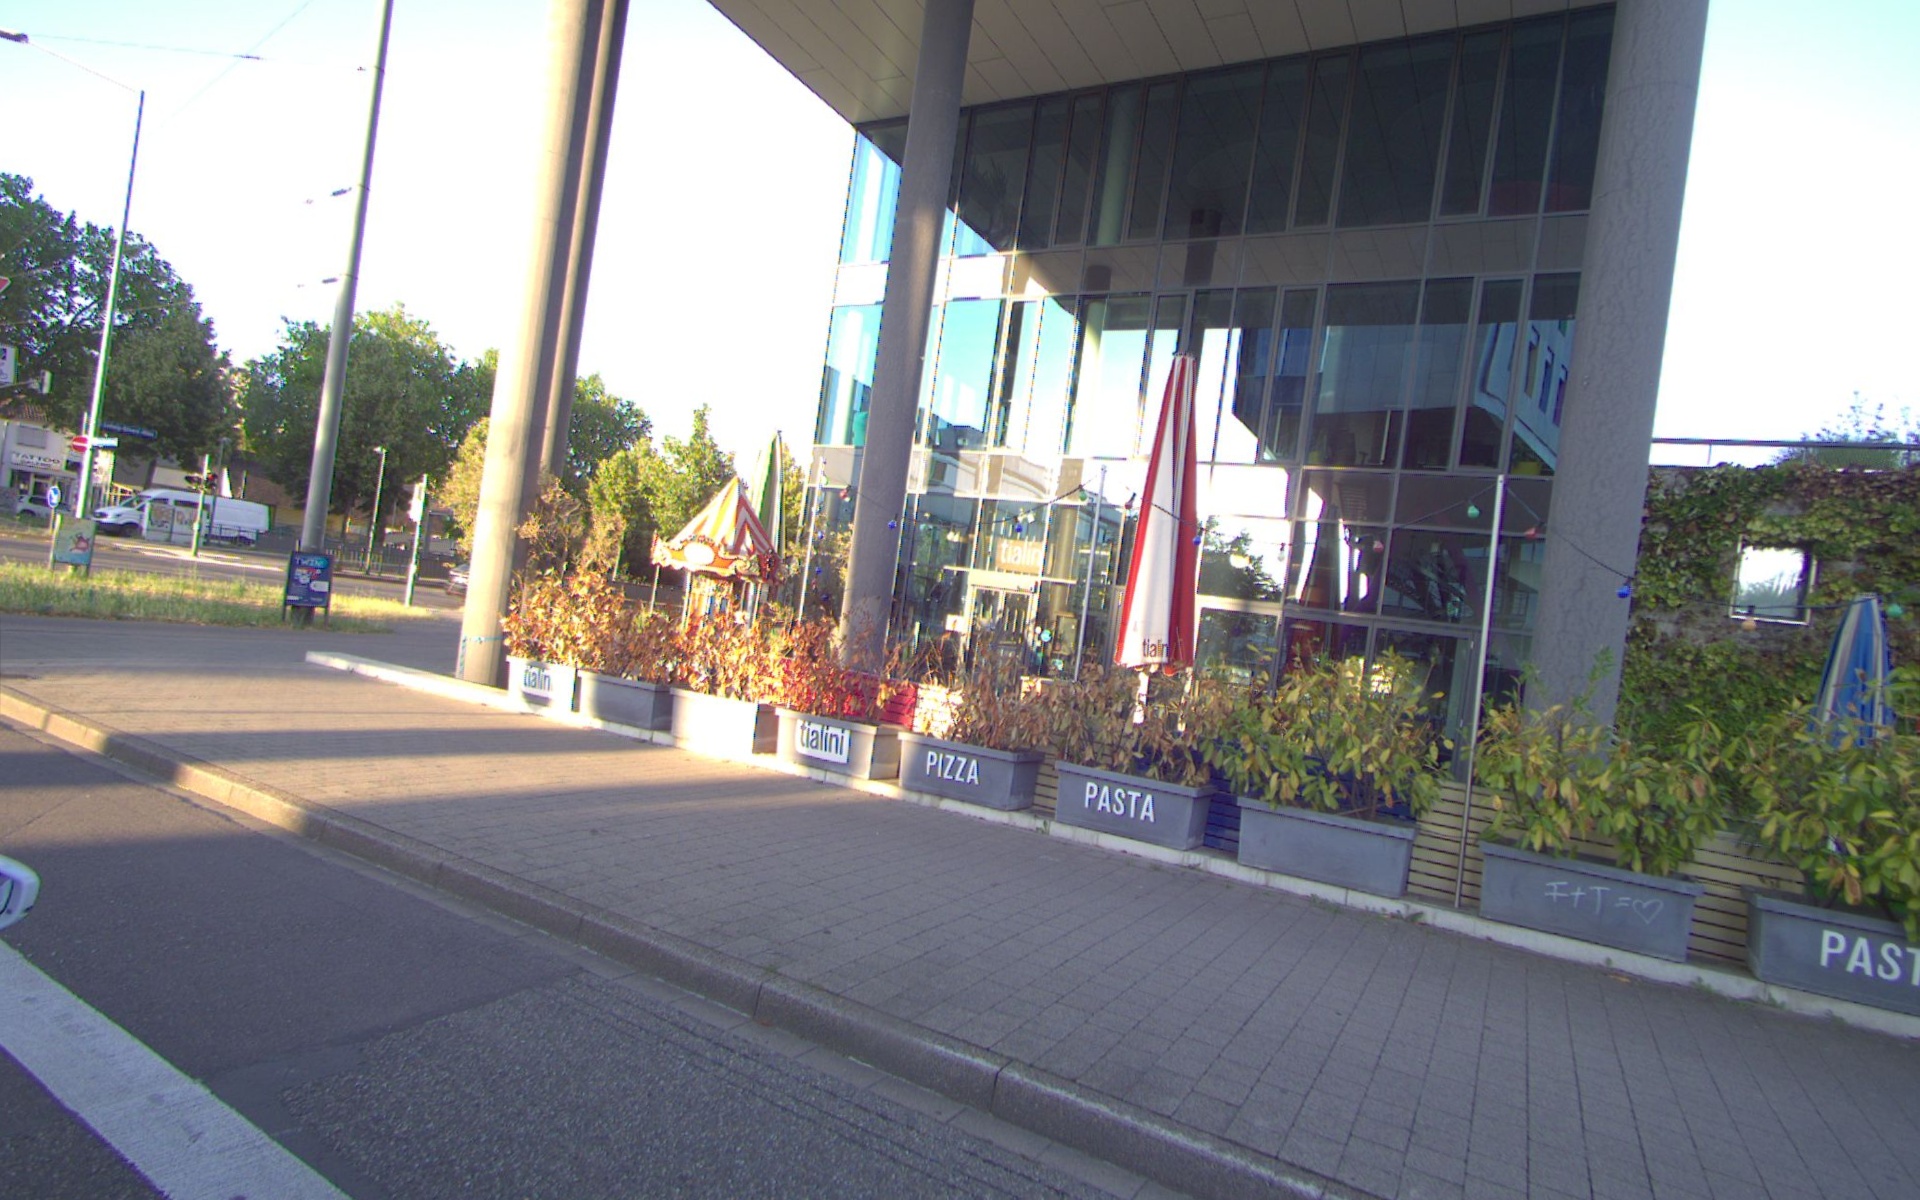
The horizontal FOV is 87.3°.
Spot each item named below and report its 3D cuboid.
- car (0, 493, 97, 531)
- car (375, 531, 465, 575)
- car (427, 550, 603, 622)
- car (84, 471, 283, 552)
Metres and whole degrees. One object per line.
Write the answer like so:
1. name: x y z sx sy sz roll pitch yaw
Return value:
1. car: -50.556 -4.850 55.837 1.641 1.456 3.736 6 -2 41
2. car: -42.622 -3.701 79.526 2.197 2.581 5.594 7 -2 39
3. car: -14.231 -0.389 32.503 1.966 1.633 4.920 7 -2 29
4. car: -37.322 -4.197 48.648 2.765 2.666 6.931 6 -2 32
